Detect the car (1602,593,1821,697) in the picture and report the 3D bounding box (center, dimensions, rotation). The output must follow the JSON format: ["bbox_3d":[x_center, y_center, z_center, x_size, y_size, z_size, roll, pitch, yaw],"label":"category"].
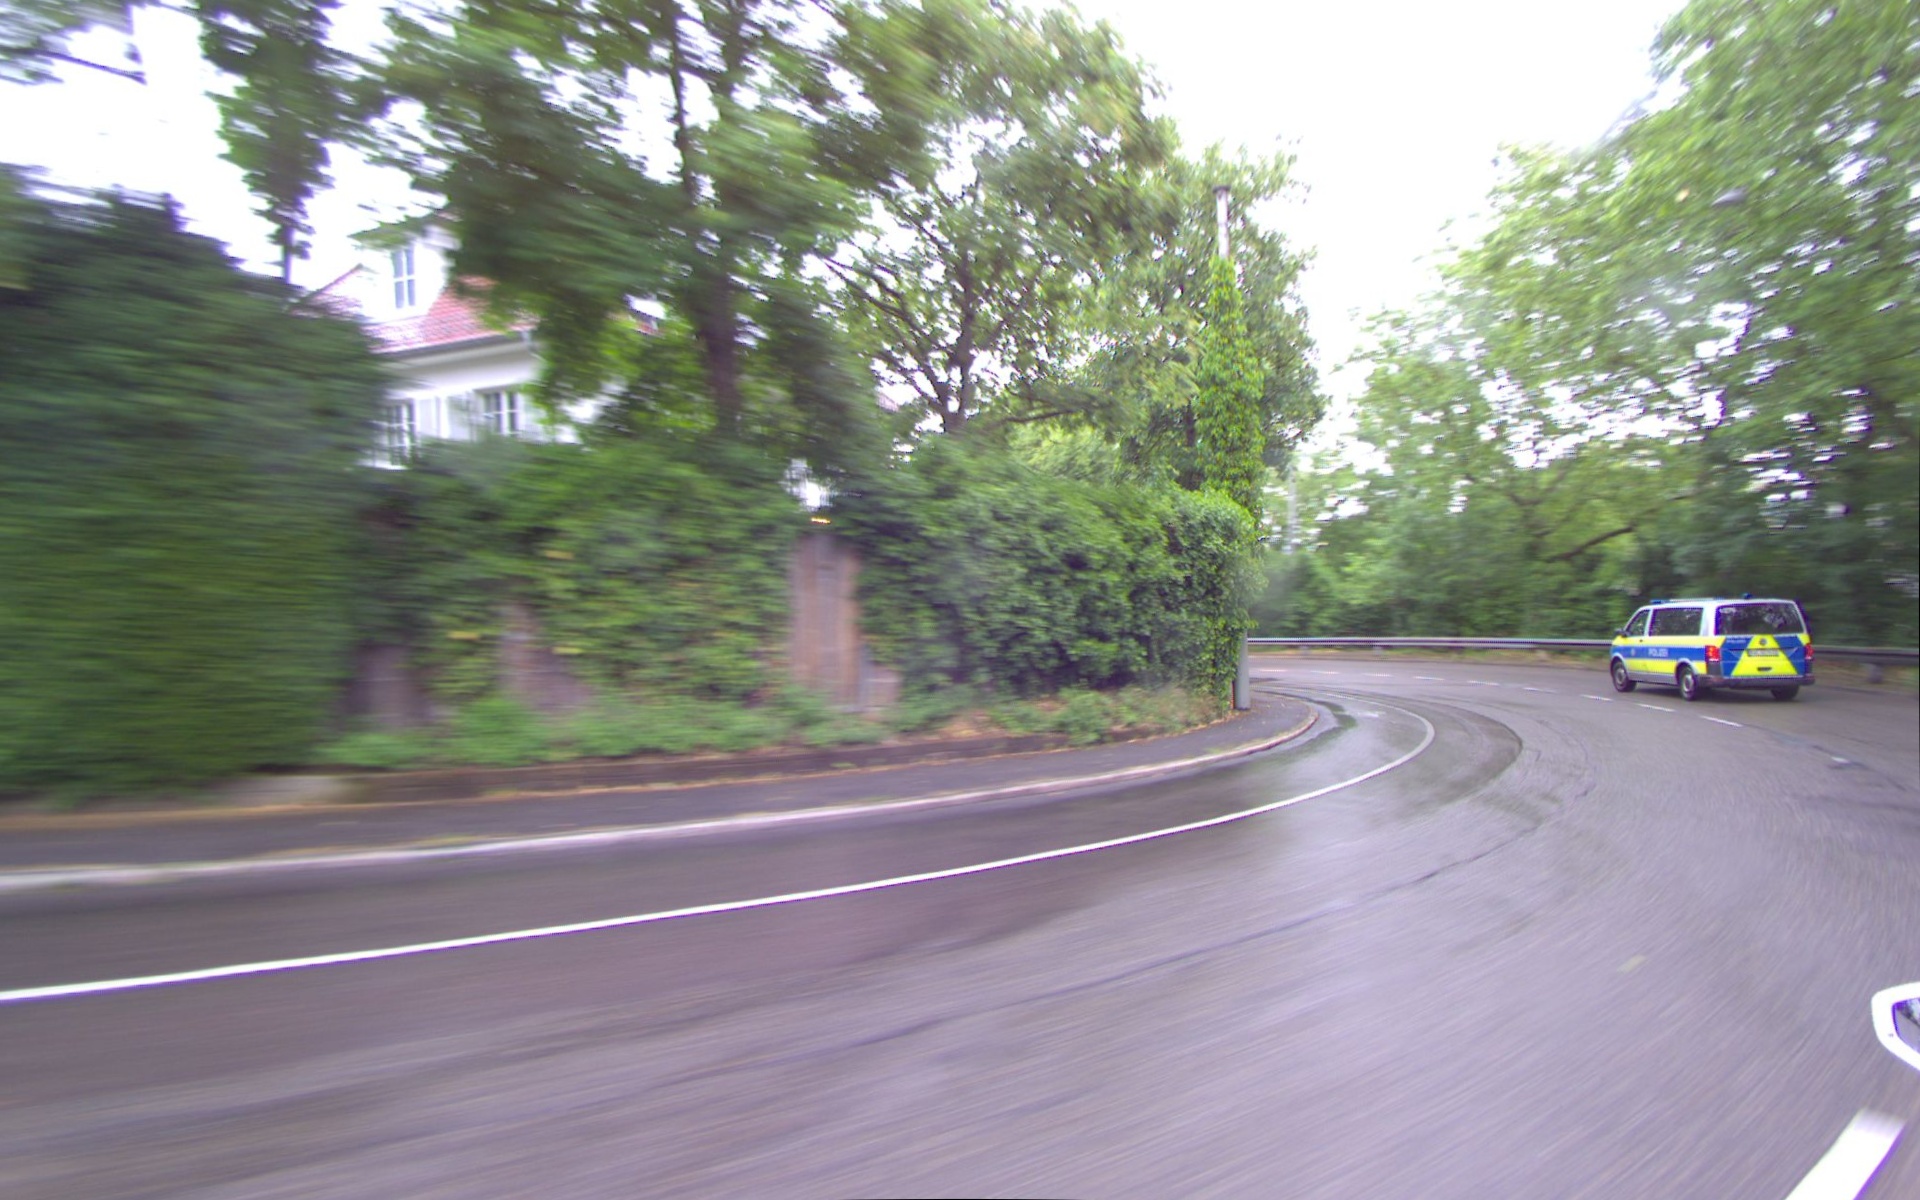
[{"bbox_3d":[15.472,0.910,21.042,1.960,1.918,4.573,-1,-2,13],"label":"car"}]
